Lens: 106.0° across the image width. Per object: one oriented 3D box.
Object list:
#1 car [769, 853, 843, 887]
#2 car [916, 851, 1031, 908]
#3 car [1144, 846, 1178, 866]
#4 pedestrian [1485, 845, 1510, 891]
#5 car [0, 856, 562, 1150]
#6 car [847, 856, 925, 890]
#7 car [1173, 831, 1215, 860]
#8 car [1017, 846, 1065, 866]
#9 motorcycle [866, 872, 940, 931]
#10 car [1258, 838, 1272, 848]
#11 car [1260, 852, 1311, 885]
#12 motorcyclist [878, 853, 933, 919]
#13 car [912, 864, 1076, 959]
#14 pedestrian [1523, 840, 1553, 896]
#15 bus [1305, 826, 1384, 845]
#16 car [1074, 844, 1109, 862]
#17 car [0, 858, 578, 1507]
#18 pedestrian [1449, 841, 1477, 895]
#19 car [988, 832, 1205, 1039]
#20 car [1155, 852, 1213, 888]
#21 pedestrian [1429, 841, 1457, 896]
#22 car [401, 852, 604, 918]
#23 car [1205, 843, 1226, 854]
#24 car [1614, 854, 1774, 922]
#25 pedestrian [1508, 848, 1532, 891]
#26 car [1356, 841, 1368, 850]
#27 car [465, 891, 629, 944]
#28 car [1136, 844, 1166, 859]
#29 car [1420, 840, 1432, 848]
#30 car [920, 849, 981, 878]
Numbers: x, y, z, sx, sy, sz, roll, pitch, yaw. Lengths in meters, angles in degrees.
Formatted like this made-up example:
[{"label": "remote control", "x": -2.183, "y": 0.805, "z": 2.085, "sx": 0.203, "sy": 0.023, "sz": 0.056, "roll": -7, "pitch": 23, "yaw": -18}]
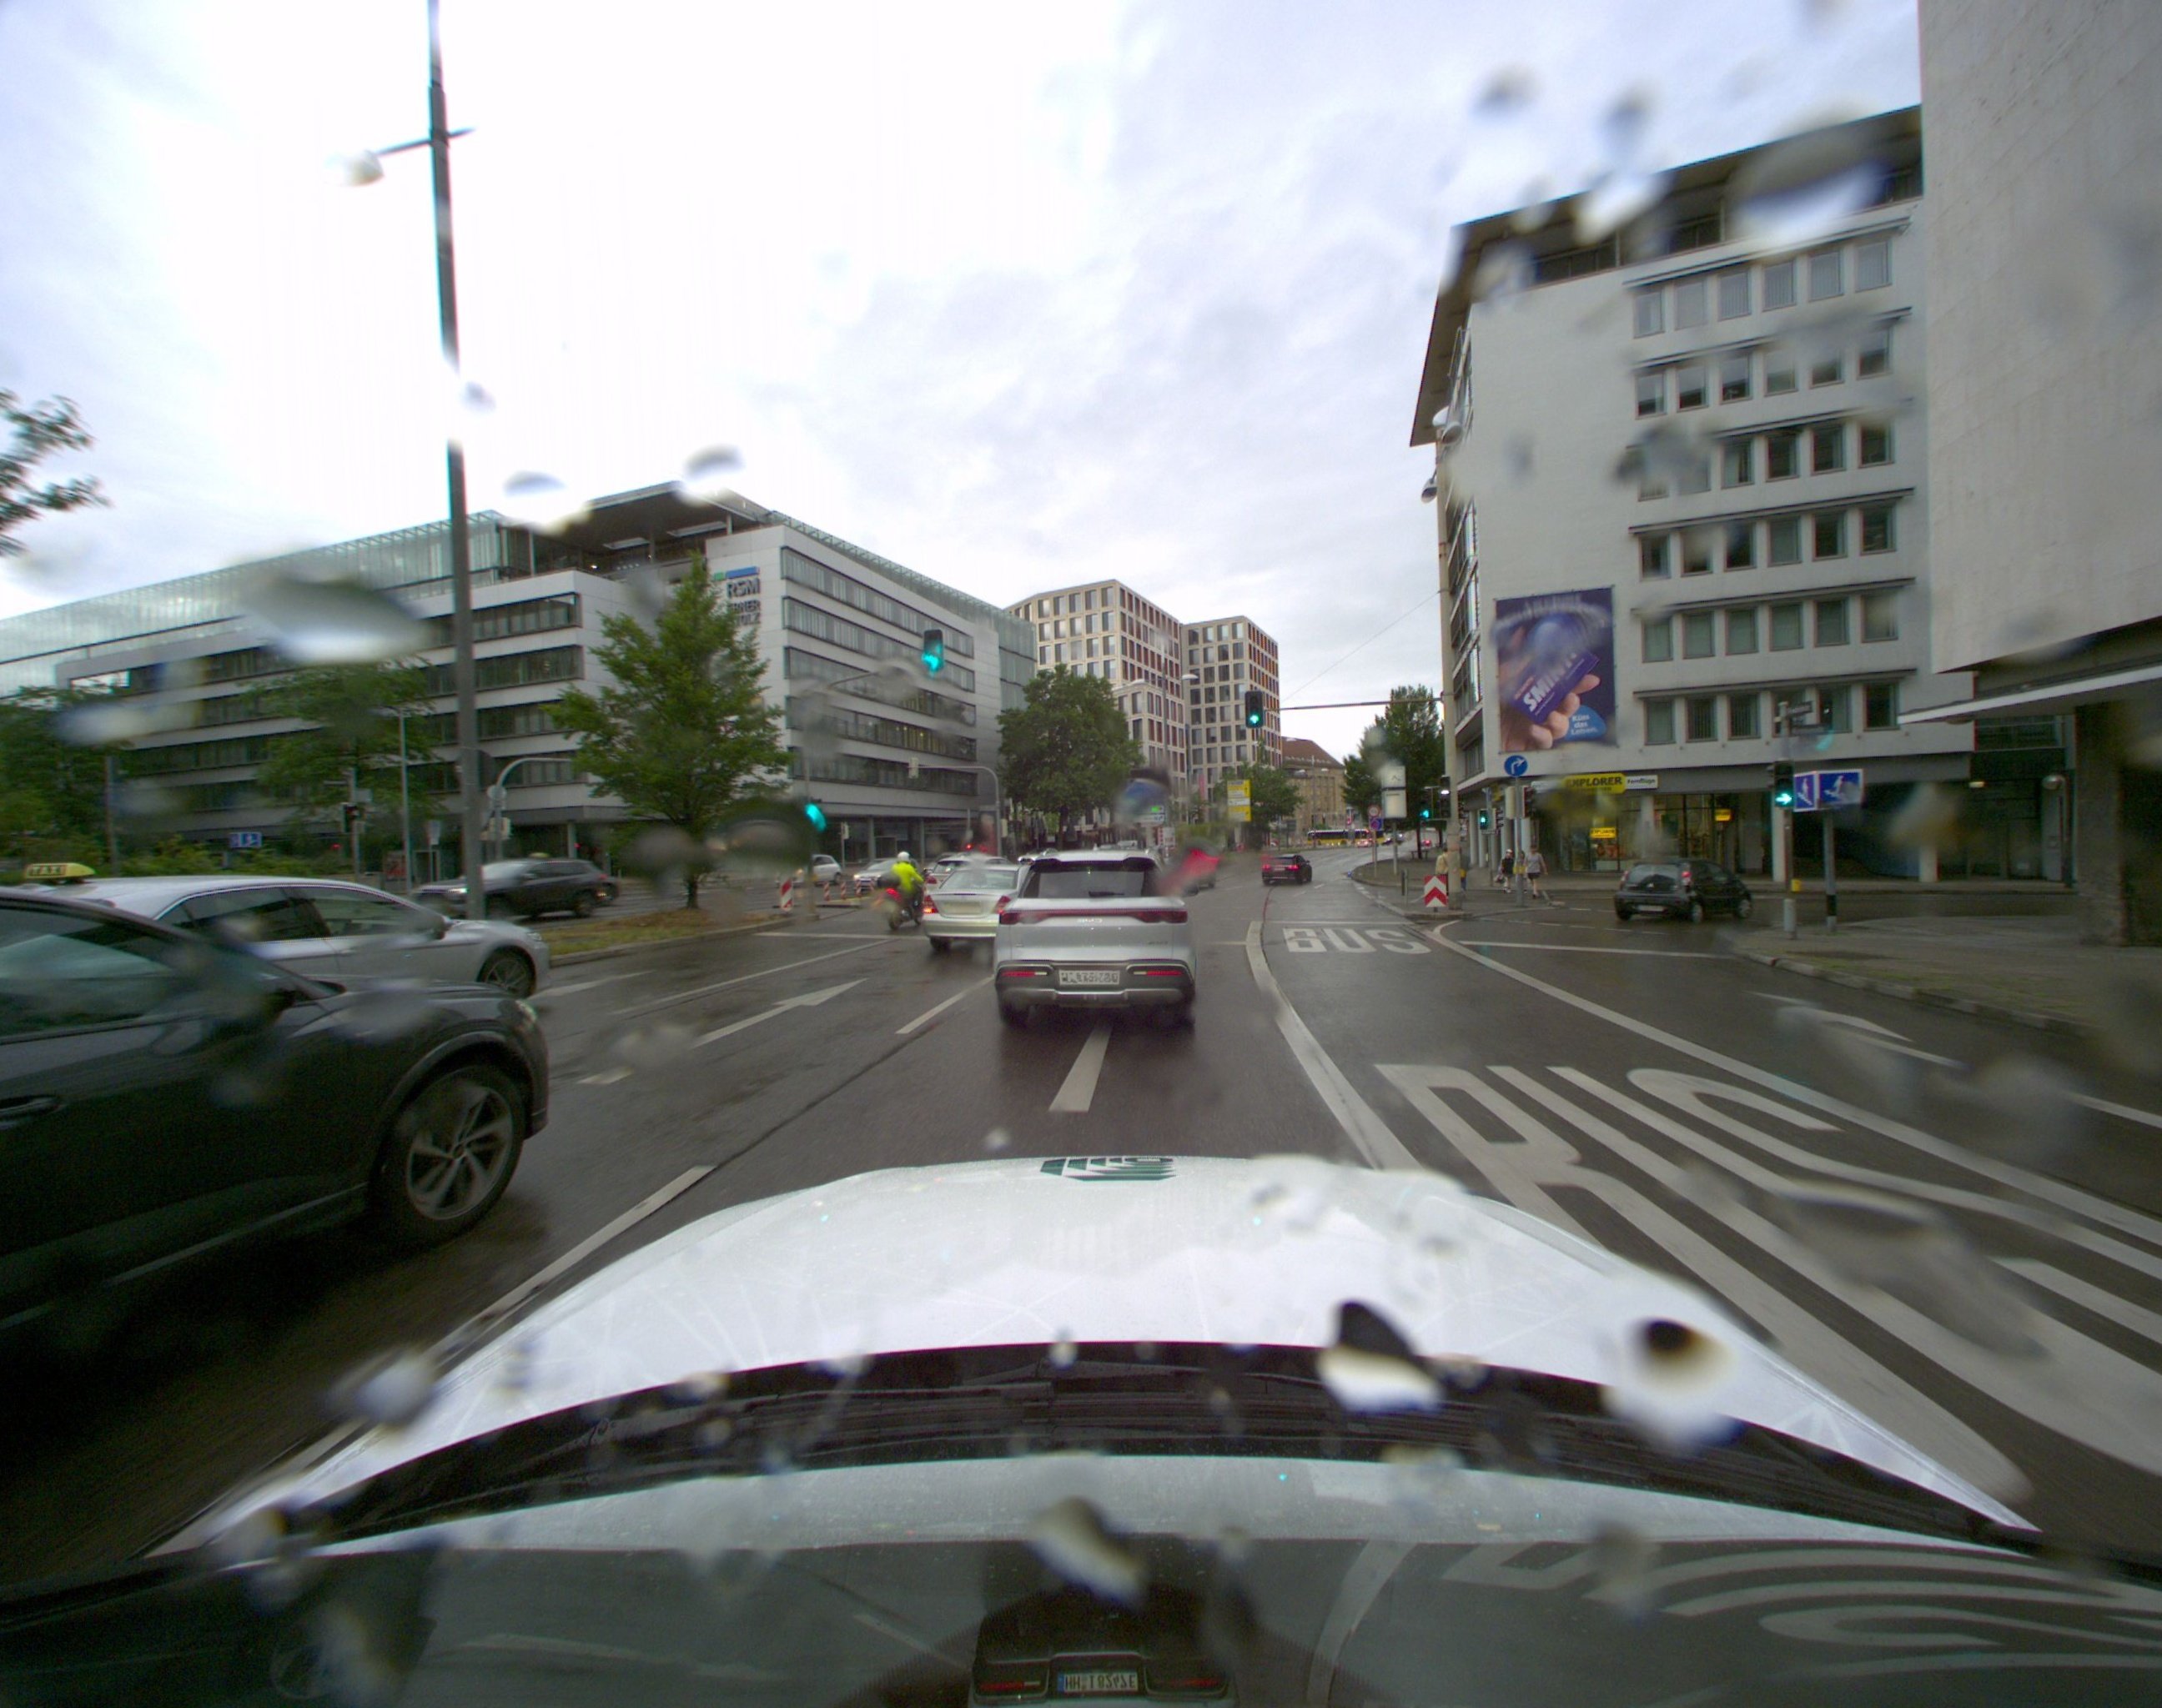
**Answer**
[{"label": "car", "x": -13.612, "y": 0.788, "z": 40.546, "sx": 1.626, "sy": 1.571, "sz": 3.734, "roll": -1, "pitch": -1, "yaw": 16}, {"label": "car", "x": -2.941, "y": 0.688, "z": 23.214, "sx": 1.693, "sy": 1.486, "sz": 4.018, "roll": -1, "pitch": -1, "yaw": 18}, {"label": "car", "x": 6.463, "y": 0.142, "z": 65.627, "sx": 1.617, "sy": 1.437, "sz": 3.929, "roll": -1, "pitch": 1, "yaw": 22}, {"label": "pedestrian", "x": 15.273, "y": 0.502, "z": 29.857, "sx": 0.662, "sy": 1.655, "sz": 0.657, "roll": -1, "pitch": -1, "yaw": 42}, {"label": "car", "x": -6.523, "y": 0.793, "z": 6.251, "sx": 1.858, "sy": 1.533, "sz": 4.780, "roll": 0, "pitch": 0, "yaw": 2}, {"label": "car", "x": -8.181, "y": 0.790, "z": 34.542, "sx": 1.678, "sy": 1.385, "sz": 3.882, "roll": 0, "pitch": -1, "yaw": 13}, {"label": "car", "x": 8.403, "y": -0.551, "z": 60.185, "sx": 1.976, "sy": 2.014, "sz": 4.874, "roll": -1, "pitch": -1, "yaw": 22}, {"label": "car", "x": -3.215, "y": 0.144, "z": 66.310, "sx": 1.797, "sy": 1.510, "sz": 5.224, "roll": -1, "pitch": 1, "yaw": 22}, {"label": "motorcycle", "x": -3.804, "y": 0.983, "z": 17.626, "sx": 0.795, "sy": 1.185, "sz": 2.035, "roll": 0, "pitch": -1, "yaw": 12}, {"label": "car", "x": 36.080, "y": -2.172, "z": 159.744, "sx": 1.591, "sy": 1.741, "sz": 3.466, "roll": -1, "pitch": -1, "yaw": 31}, {"label": "car", "x": 10.011, "y": 0.698, "z": 39.669, "sx": 1.678, "sy": 1.486, "sz": 4.022, "roll": -1, "pitch": -1, "yaw": 24}, {"label": "motorcyclist", "x": -3.779, "y": 0.675, "z": 17.636, "sx": 0.765, "sy": 1.380, "sz": 1.122, "roll": 0, "pitch": -1, "yaw": 12}, {"label": "car", "x": -1.341, "y": 0.883, "z": 14.274, "sx": 1.560, "sy": 1.407, "sz": 4.124, "roll": -1, "pitch": -1, "yaw": 13}, {"label": "pedestrian", "x": 14.849, "y": 0.454, "z": 26.461, "sx": 0.662, "sy": 1.794, "sz": 0.778, "roll": -1, "pitch": -1, "yaw": 42}, {"label": "bus", "x": 61.075, "y": -4.257, "z": 188.940, "sx": 16.808, "sy": 4.063, "sz": 4.463, "roll": -1, "pitch": -1, "yaw": 26}, {"label": "car", "x": 0.988, "y": -0.127, "z": 75.361, "sx": 1.617, "sy": 1.559, "sz": 4.618, "roll": -1, "pitch": 1, "yaw": 22}, {"label": "car", "x": -3.381, "y": 0.787, "z": 1.940, "sx": 1.642, "sy": 1.521, "sz": 4.272, "roll": 0, "pitch": 0, "yaw": 1}, {"label": "pedestrian", "x": 12.912, "y": 0.461, "z": 27.564, "sx": 0.742, "sy": 1.798, "sz": 0.820, "roll": -1, "pitch": 0, "yaw": 19}, {"label": "car", "x": 0.243, "y": 0.696, "z": 8.670, "sx": 1.768, "sy": 1.679, "sz": 4.003, "roll": 0, "pitch": -1, "yaw": 3}, {"label": "car", "x": 4.522, "y": 0.681, "z": 35.279, "sx": 1.557, "sy": 1.486, "sz": 4.020, "roll": -1, "pitch": -1, "yaw": 21}, {"label": "pedestrian", "x": 11.938, "y": 0.472, "z": 26.883, "sx": 0.742, "sy": 1.798, "sz": 0.820, "roll": -1, "pitch": 0, "yaw": 19}, {"label": "car", "x": -14.656, "y": 0.720, "z": 20.967, "sx": 1.632, "sy": 1.536, "sz": 4.168, "roll": -1, "pitch": 0, "yaw": 14}, {"label": "car", "x": 19.589, "y": -0.816, "z": 118.649, "sx": 1.975, "sy": 1.488, "sz": 4.024, "roll": -1, "pitch": 1, "yaw": 26}, {"label": "car", "x": 14.210, "y": 0.732, "z": 18.825, "sx": 4.013, "sy": 1.429, "sz": 1.560, "roll": 0, "pitch": -1, "yaw": -31}, {"label": "pedestrian", "x": 15.977, "y": 0.550, "z": 29.643, "sx": 0.618, "sy": 1.543, "sz": 0.657, "roll": -1, "pitch": -1, "yaw": 42}, {"label": "car", "x": 51.496, "y": -1.502, "z": 149.254, "sx": 1.871, "sy": 1.643, "sz": 4.021, "roll": -1, "pitch": 0, "yaw": 21}, {"label": "car", "x": -16.516, "y": 1.922, "z": 25.502, "sx": 1.853, "sy": 1.378, "sz": 4.419, "roll": 0, "pitch": -1, "yaw": 7}, {"label": "car", "x": 7.690, "y": -0.301, "z": 89.114, "sx": 1.975, "sy": 1.488, "sz": 4.024, "roll": -1, "pitch": 1, "yaw": 26}, {"label": "car", "x": 62.586, "y": -1.795, "z": 147.638, "sx": 1.677, "sy": 1.486, "sz": 4.024, "roll": -1, "pitch": -1, "yaw": 29}, {"label": "car", "x": -7.435, "y": 0.515, "z": 46.835, "sx": 1.630, "sy": 1.581, "sz": 4.106, "roll": -1, "pitch": 0, "yaw": 20}]
